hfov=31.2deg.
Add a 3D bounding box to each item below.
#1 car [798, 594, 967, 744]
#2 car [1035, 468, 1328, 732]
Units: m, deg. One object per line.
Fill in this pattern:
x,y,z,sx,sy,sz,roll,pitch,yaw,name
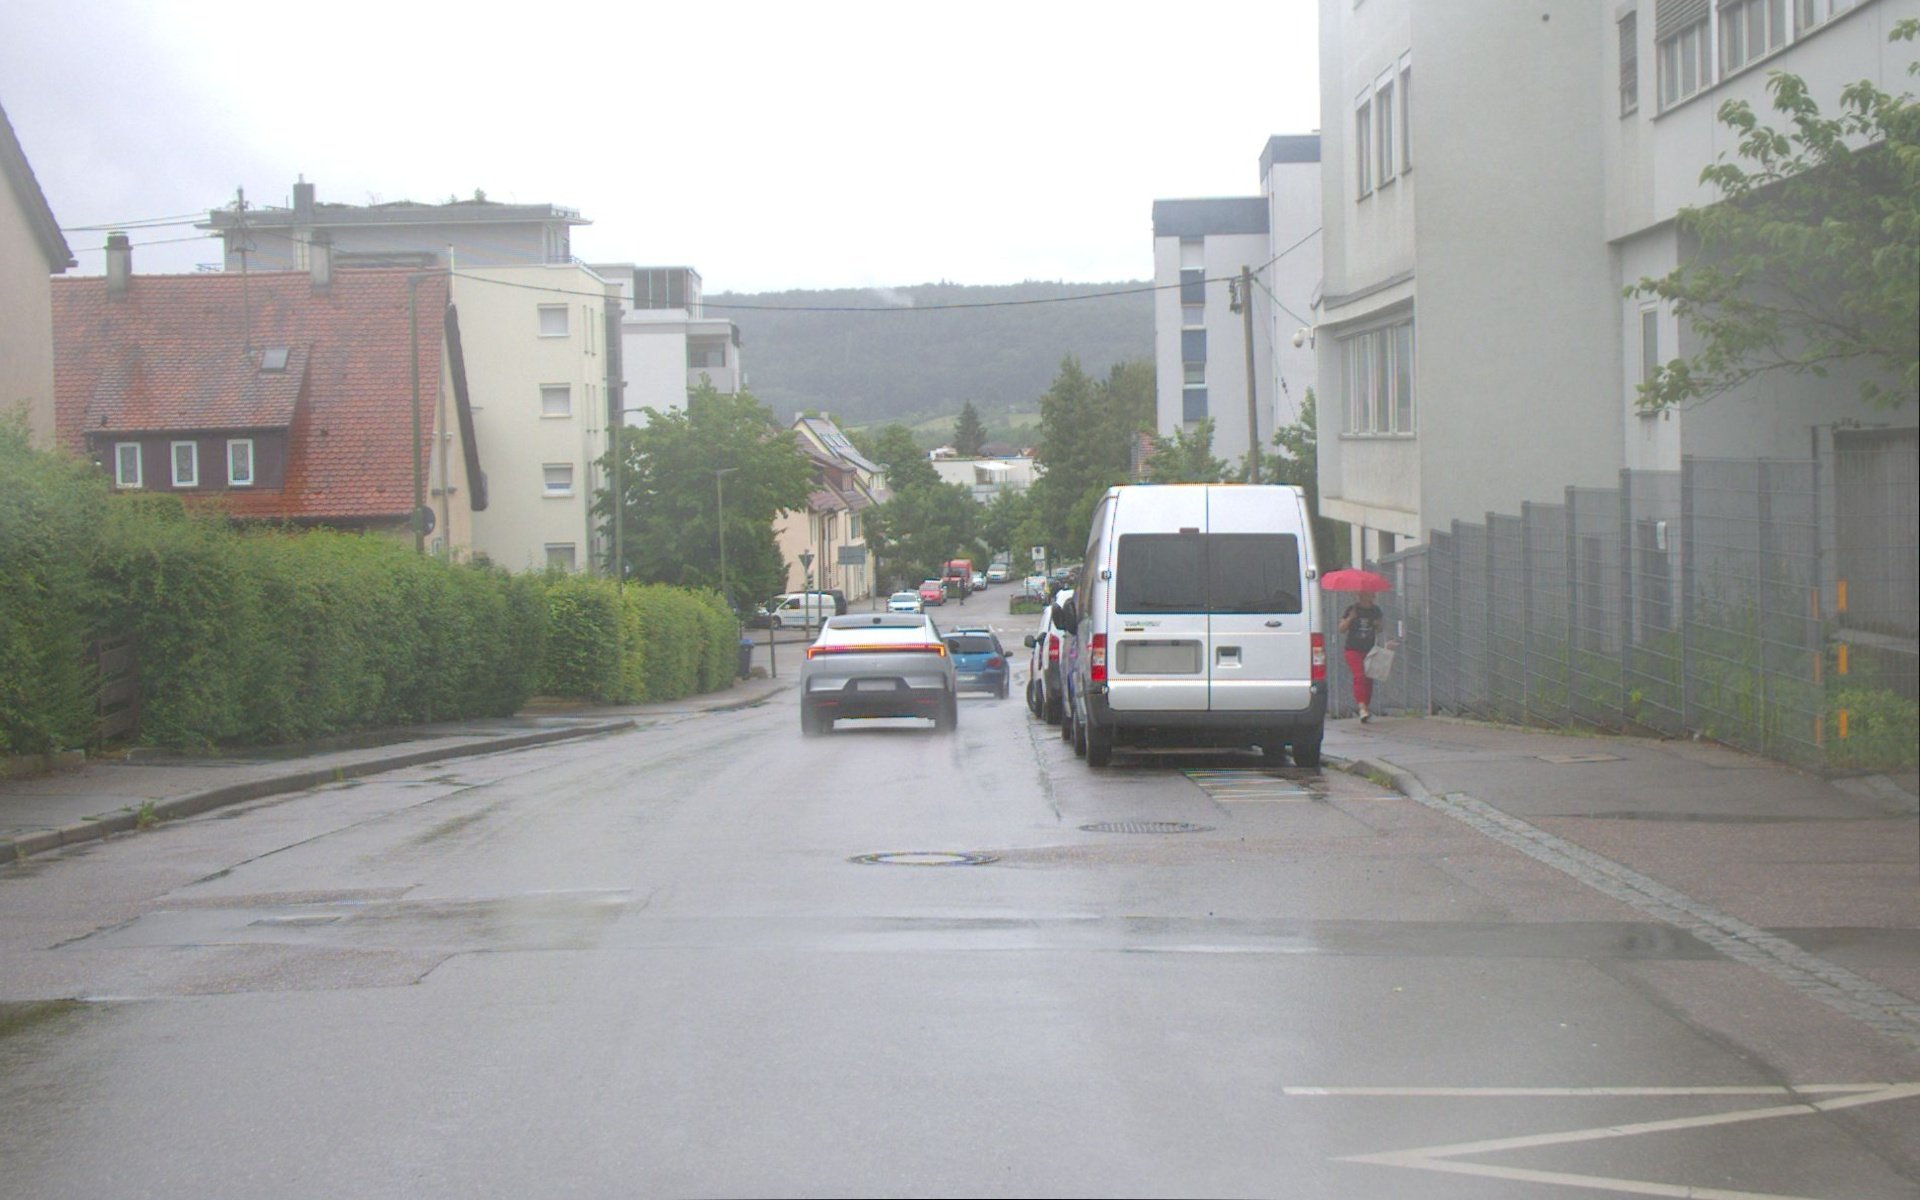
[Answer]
-0.962,0.855,45.043,1.993,1.496,4.671,-1,4,1,car
1.802,-0.010,29.283,1.993,2.007,4.000,-3,0,-2,car
